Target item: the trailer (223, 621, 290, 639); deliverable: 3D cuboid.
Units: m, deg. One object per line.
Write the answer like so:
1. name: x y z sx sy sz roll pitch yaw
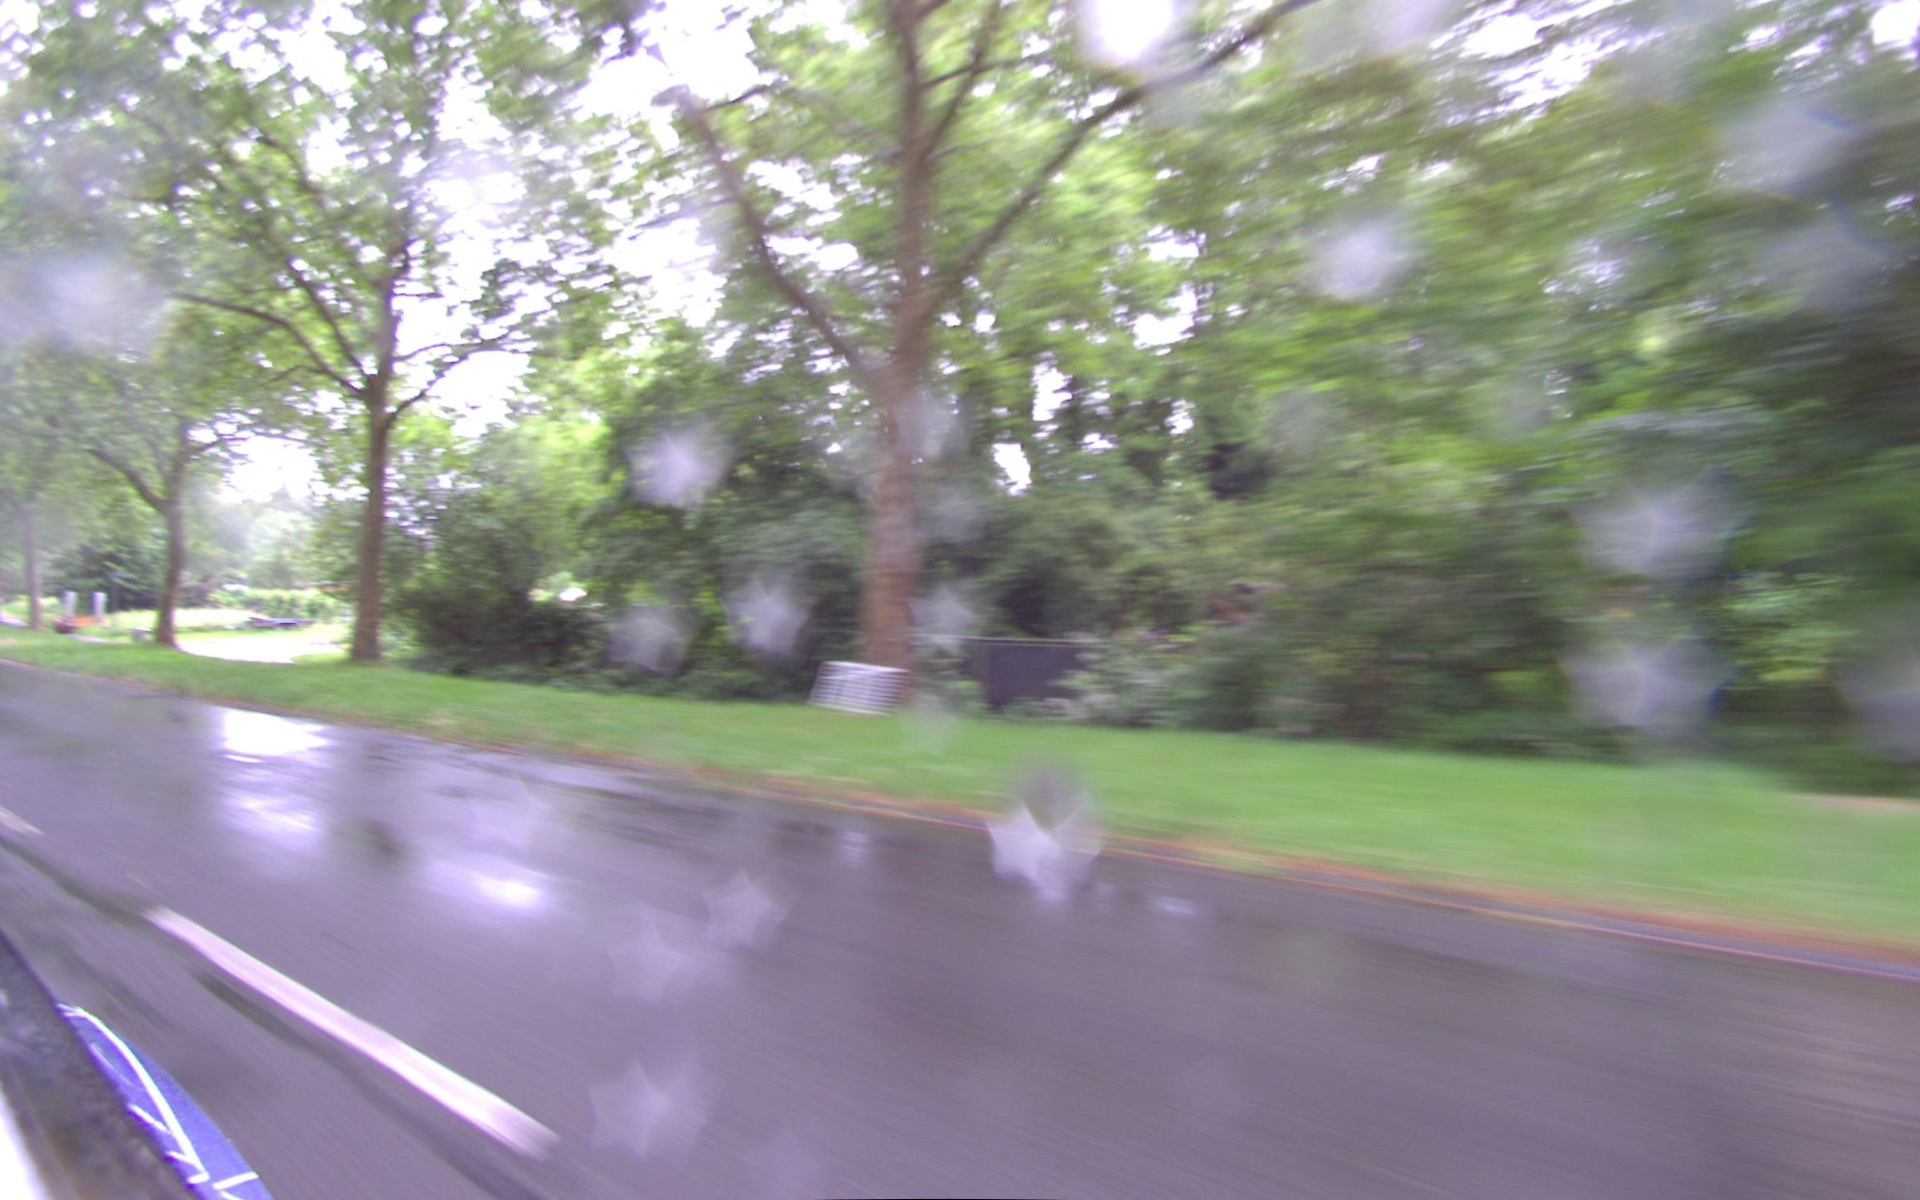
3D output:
1. trailer: -43.172 1.816 62.102 1.768 0.951 3.043 1 1 41

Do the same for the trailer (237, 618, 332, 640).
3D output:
1. trailer: -40.296 1.693 60.439 2.380 1.040 4.273 1 1 39

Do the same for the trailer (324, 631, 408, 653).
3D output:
1. trailer: -27.525 1.927 46.923 1.678 0.844 2.996 1 2 43

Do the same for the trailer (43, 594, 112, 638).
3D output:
1. trailer: -58.430 0.978 66.954 6.652 2.683 2.768 1 1 43
